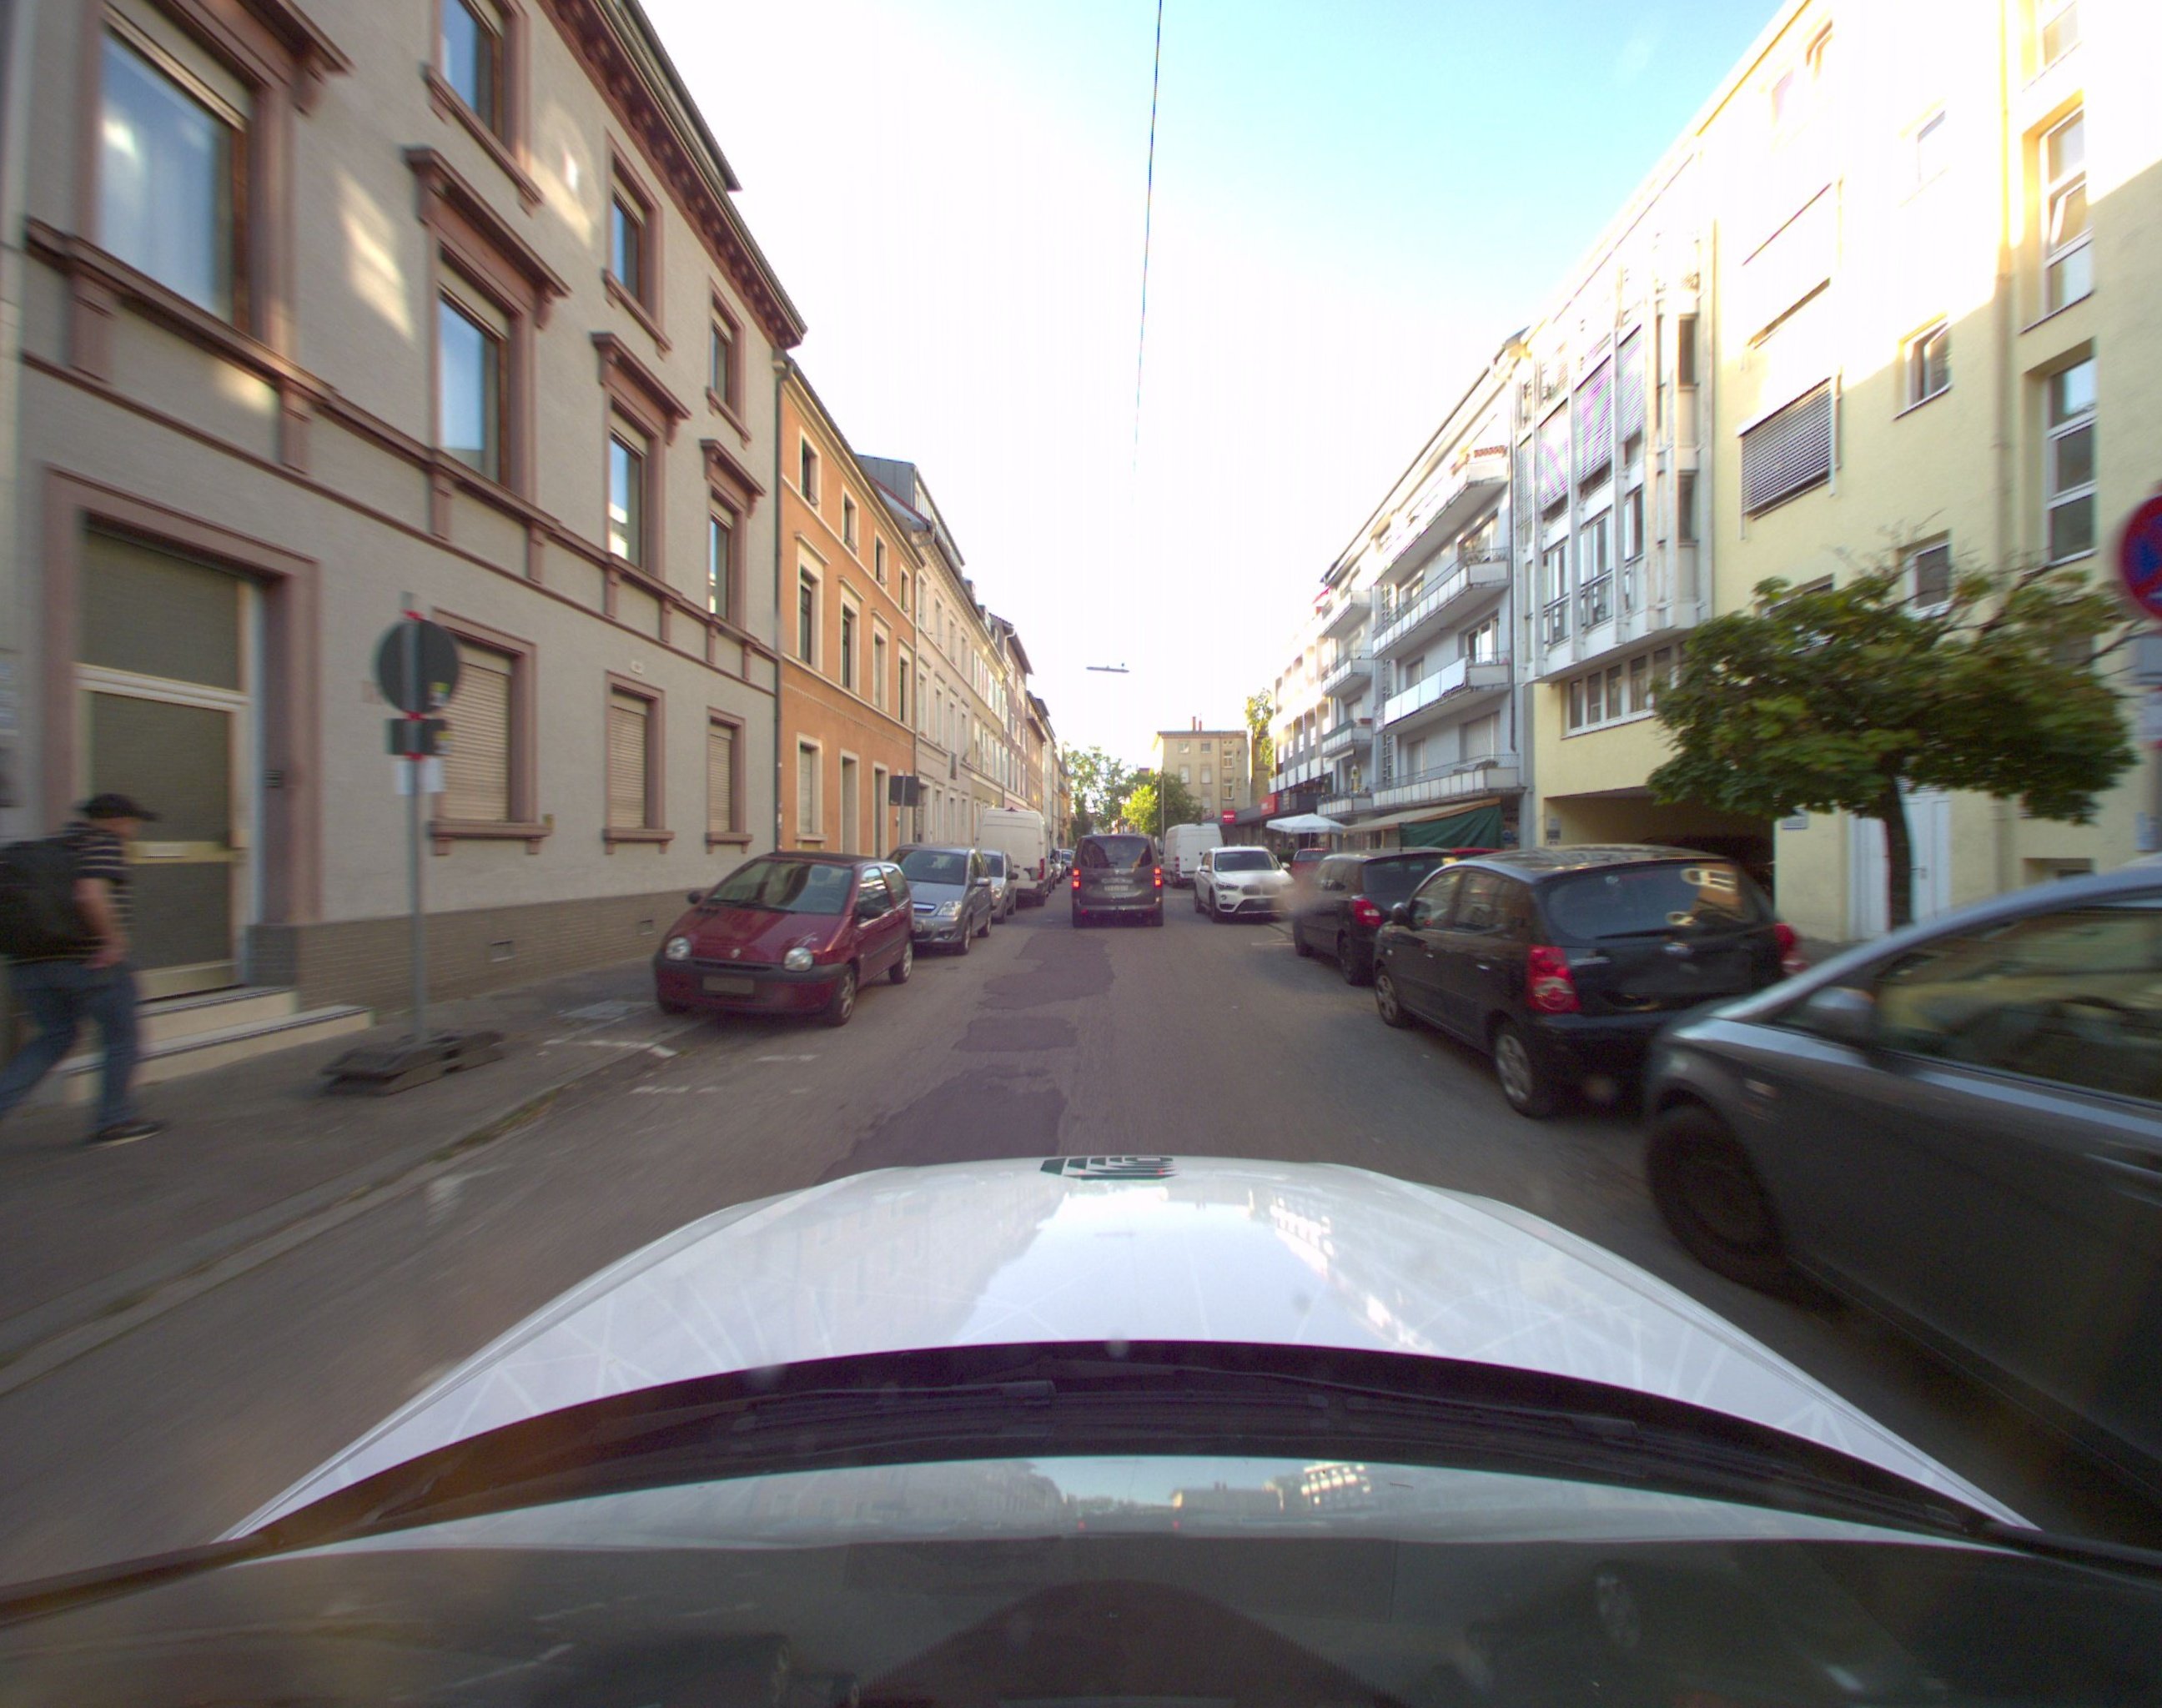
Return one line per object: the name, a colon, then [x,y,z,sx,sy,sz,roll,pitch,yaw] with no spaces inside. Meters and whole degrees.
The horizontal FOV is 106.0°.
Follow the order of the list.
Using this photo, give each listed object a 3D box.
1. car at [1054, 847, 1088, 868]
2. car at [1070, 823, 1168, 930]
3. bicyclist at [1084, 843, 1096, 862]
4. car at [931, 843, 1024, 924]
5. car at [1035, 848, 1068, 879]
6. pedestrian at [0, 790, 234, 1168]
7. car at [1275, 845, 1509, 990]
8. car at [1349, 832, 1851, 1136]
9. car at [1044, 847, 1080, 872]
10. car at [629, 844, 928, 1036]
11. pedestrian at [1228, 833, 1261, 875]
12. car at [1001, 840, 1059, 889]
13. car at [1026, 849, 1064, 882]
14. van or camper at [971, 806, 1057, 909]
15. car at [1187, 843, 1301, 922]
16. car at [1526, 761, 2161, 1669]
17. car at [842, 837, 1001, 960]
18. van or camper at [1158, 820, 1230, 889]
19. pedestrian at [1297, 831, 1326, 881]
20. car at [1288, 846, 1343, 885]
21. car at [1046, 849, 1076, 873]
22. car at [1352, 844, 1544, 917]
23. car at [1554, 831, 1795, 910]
car: [-0.688,0.219,61.881,1.983,1.560,4.594,0,1,7]
car: [0.785,0.419,17.838,1.851,2.013,4.001,-2,1,1]
bicyclist: [0.792,-0.136,72.256,1.030,1.577,0.834,-1,0,4]
car: [-2.312,0.606,19.004,1.584,1.686,3.654,0,1,1]
car: [-1.520,0.450,42.189,1.379,1.532,2.753,0,0,5]
pedestrian: [-4.657,0.539,3.883,0.493,1.638,0.666,1,0,2]
car: [3.803,0.660,10.739,1.614,1.486,4.127,-2,0,2]
car: [3.304,0.656,6.099,1.614,1.557,3.698,1,1,4]
car: [-1.255,0.322,55.989,1.985,1.605,4.590,0,1,4]
car: [-2.736,0.677,8.179,1.651,1.448,3.286,3,0,1]
pedestrian: [6.326,0.007,31.552,0.874,1.555,0.870,-3,1,-20]
car: [-1.874,0.351,31.067,1.857,1.750,4.294,0,1,1]
car: [-1.679,0.503,38.640,1.706,1.497,3.852,0,1,-2]
van or camper: [-1.867,0.068,24.866,1.943,2.649,7.140,-1,0,0]
car: [3.628,0.575,18.918,1.717,1.612,4.587,0,0,-1]
car: [2.899,0.678,1.681,1.741,1.683,4.531,1,1,4]
car: [-2.428,0.600,13.404,1.705,1.644,3.980,3,1,1]
van or camper: [4.668,-0.022,34.811,2.092,2.602,7.512,-1,0,1]
pedestrian: [10.101,0.092,35.740,0.874,2.145,0.951,-1,0,-15]
car: [9.205,0.420,31.826,1.585,1.416,3.247,-1,0,25]
car: [-1.249,0.423,51.073,1.783,1.397,4.465,1,1,-1]
car: [8.750,0.612,19.639,3.882,1.607,1.695,1,0,0]
car: [13.323,0.345,18.469,4.097,1.659,1.999,0,0,-2]
